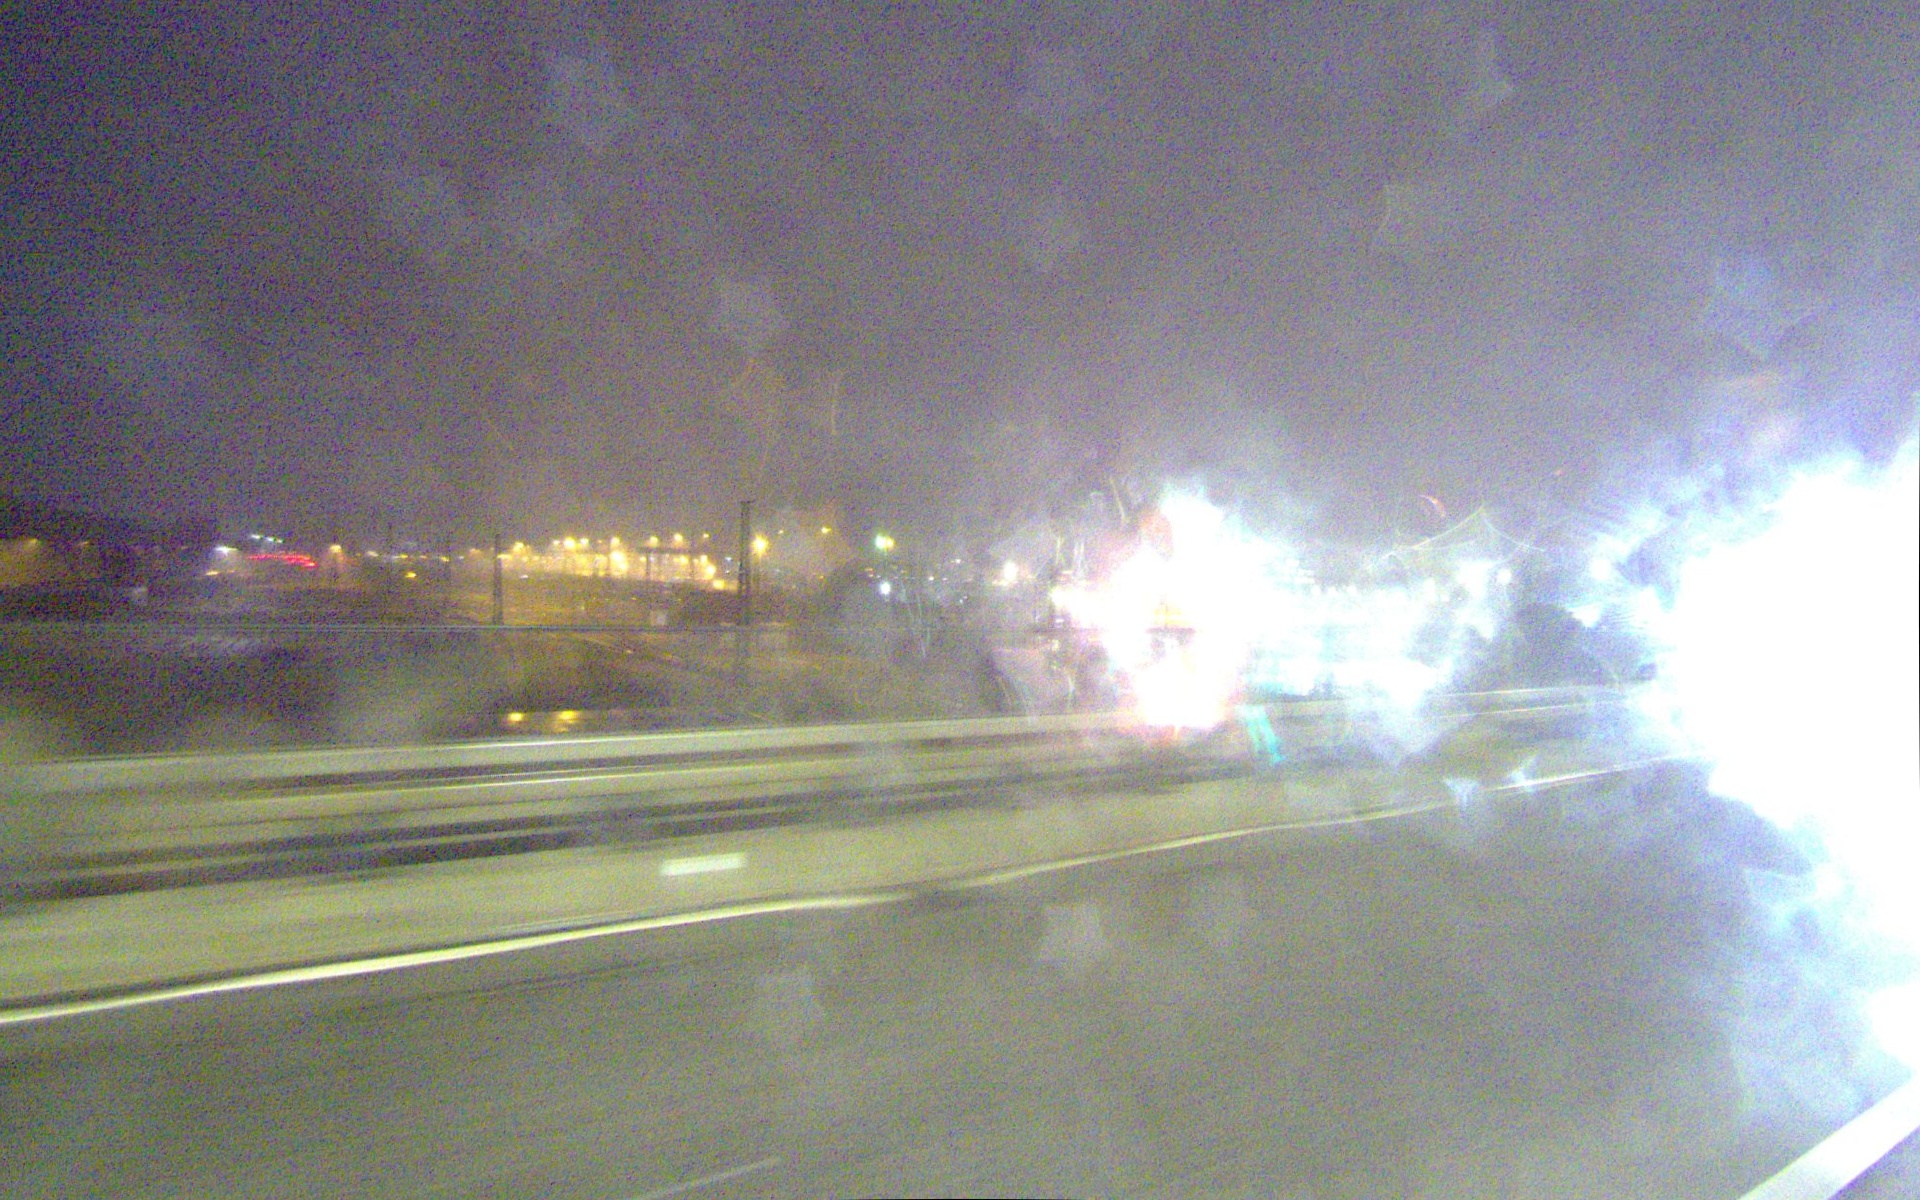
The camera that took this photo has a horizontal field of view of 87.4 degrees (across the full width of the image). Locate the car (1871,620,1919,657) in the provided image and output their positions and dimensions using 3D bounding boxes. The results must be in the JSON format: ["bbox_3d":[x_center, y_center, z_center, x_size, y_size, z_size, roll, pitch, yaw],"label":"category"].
[{"bbox_3d":[46.254,1.871,49.076,1.753,1.727,4.305,0,-2,31],"label":"car"}]
